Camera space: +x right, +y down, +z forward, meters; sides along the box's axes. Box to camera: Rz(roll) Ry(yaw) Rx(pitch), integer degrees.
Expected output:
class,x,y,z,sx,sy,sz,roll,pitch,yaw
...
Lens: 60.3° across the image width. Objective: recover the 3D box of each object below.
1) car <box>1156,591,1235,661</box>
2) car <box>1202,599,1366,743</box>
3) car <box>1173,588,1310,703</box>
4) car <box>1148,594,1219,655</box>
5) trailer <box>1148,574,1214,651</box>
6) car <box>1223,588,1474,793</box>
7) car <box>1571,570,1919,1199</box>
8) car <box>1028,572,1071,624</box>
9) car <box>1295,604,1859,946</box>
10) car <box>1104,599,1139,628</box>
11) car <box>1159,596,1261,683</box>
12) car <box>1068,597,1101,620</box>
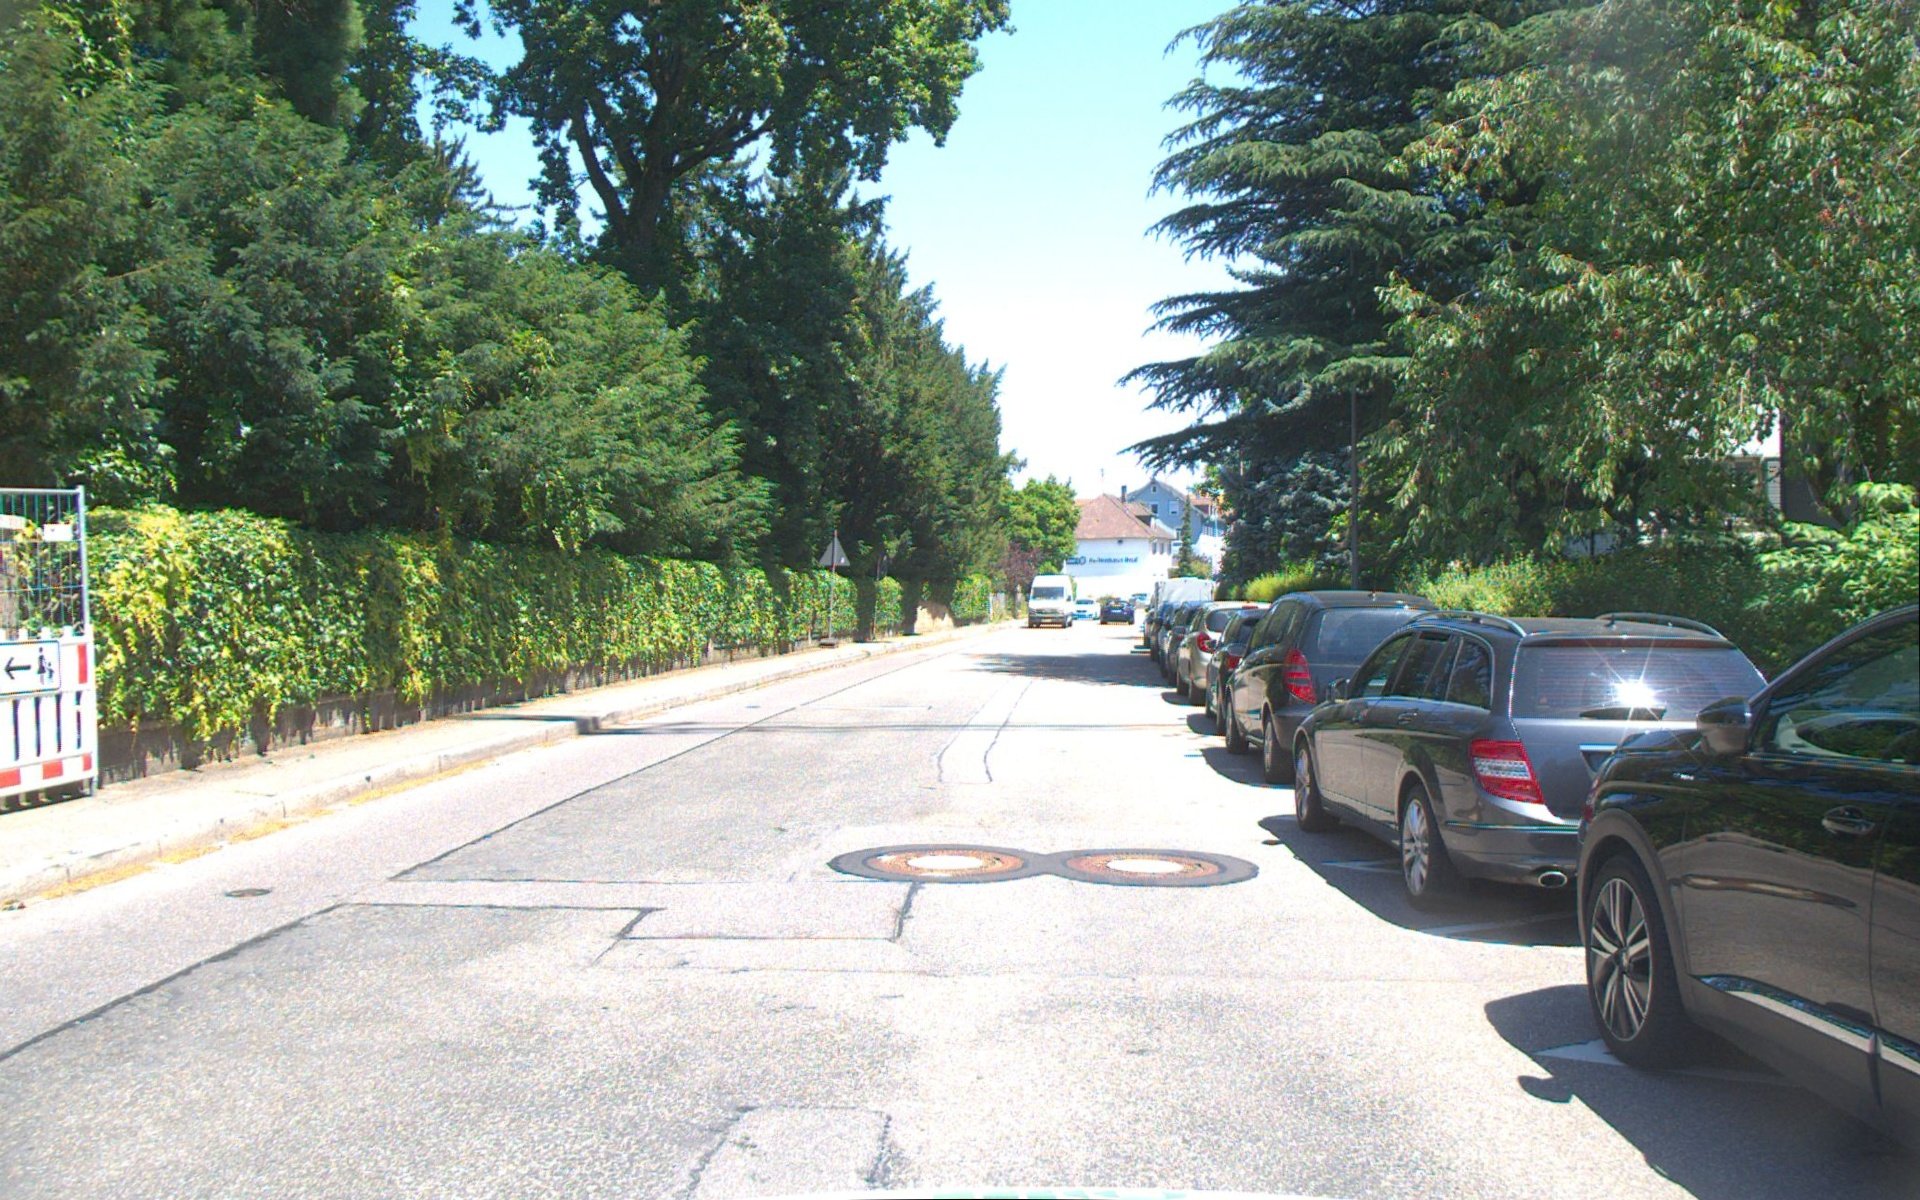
class,x,y,z,sx,sy,sz,roll,pitch,yaw
car,5.232,0.537,37.081,1.580,1.495,4.067,0,0,6
car,3.860,0.778,20.228,1.548,1.468,4.011,3,1,6
car,4.215,0.656,25.286,1.581,1.539,4.066,3,0,3
car,5.565,0.589,41.485,1.580,1.420,4.261,1,0,6
trailer,6.278,0.319,47.224,1.644,2.104,3.710,1,1,5
car,3.398,0.702,15.126,1.548,1.603,4.010,0,1,3
car,3.051,0.728,4.083,1.627,1.565,4.204,1,0,2
car,4.633,-0.096,84.837,1.951,2.577,5.898,0,0,6
car,3.128,0.771,9.338,1.627,1.457,4.204,0,0,0
car,9.152,0.765,93.535,1.756,1.536,4.003,2,1,8
car,4.551,0.682,30.537,1.580,1.476,4.377,0,0,5
car,8.251,0.548,109.264,1.824,1.407,4.608,0,1,9
